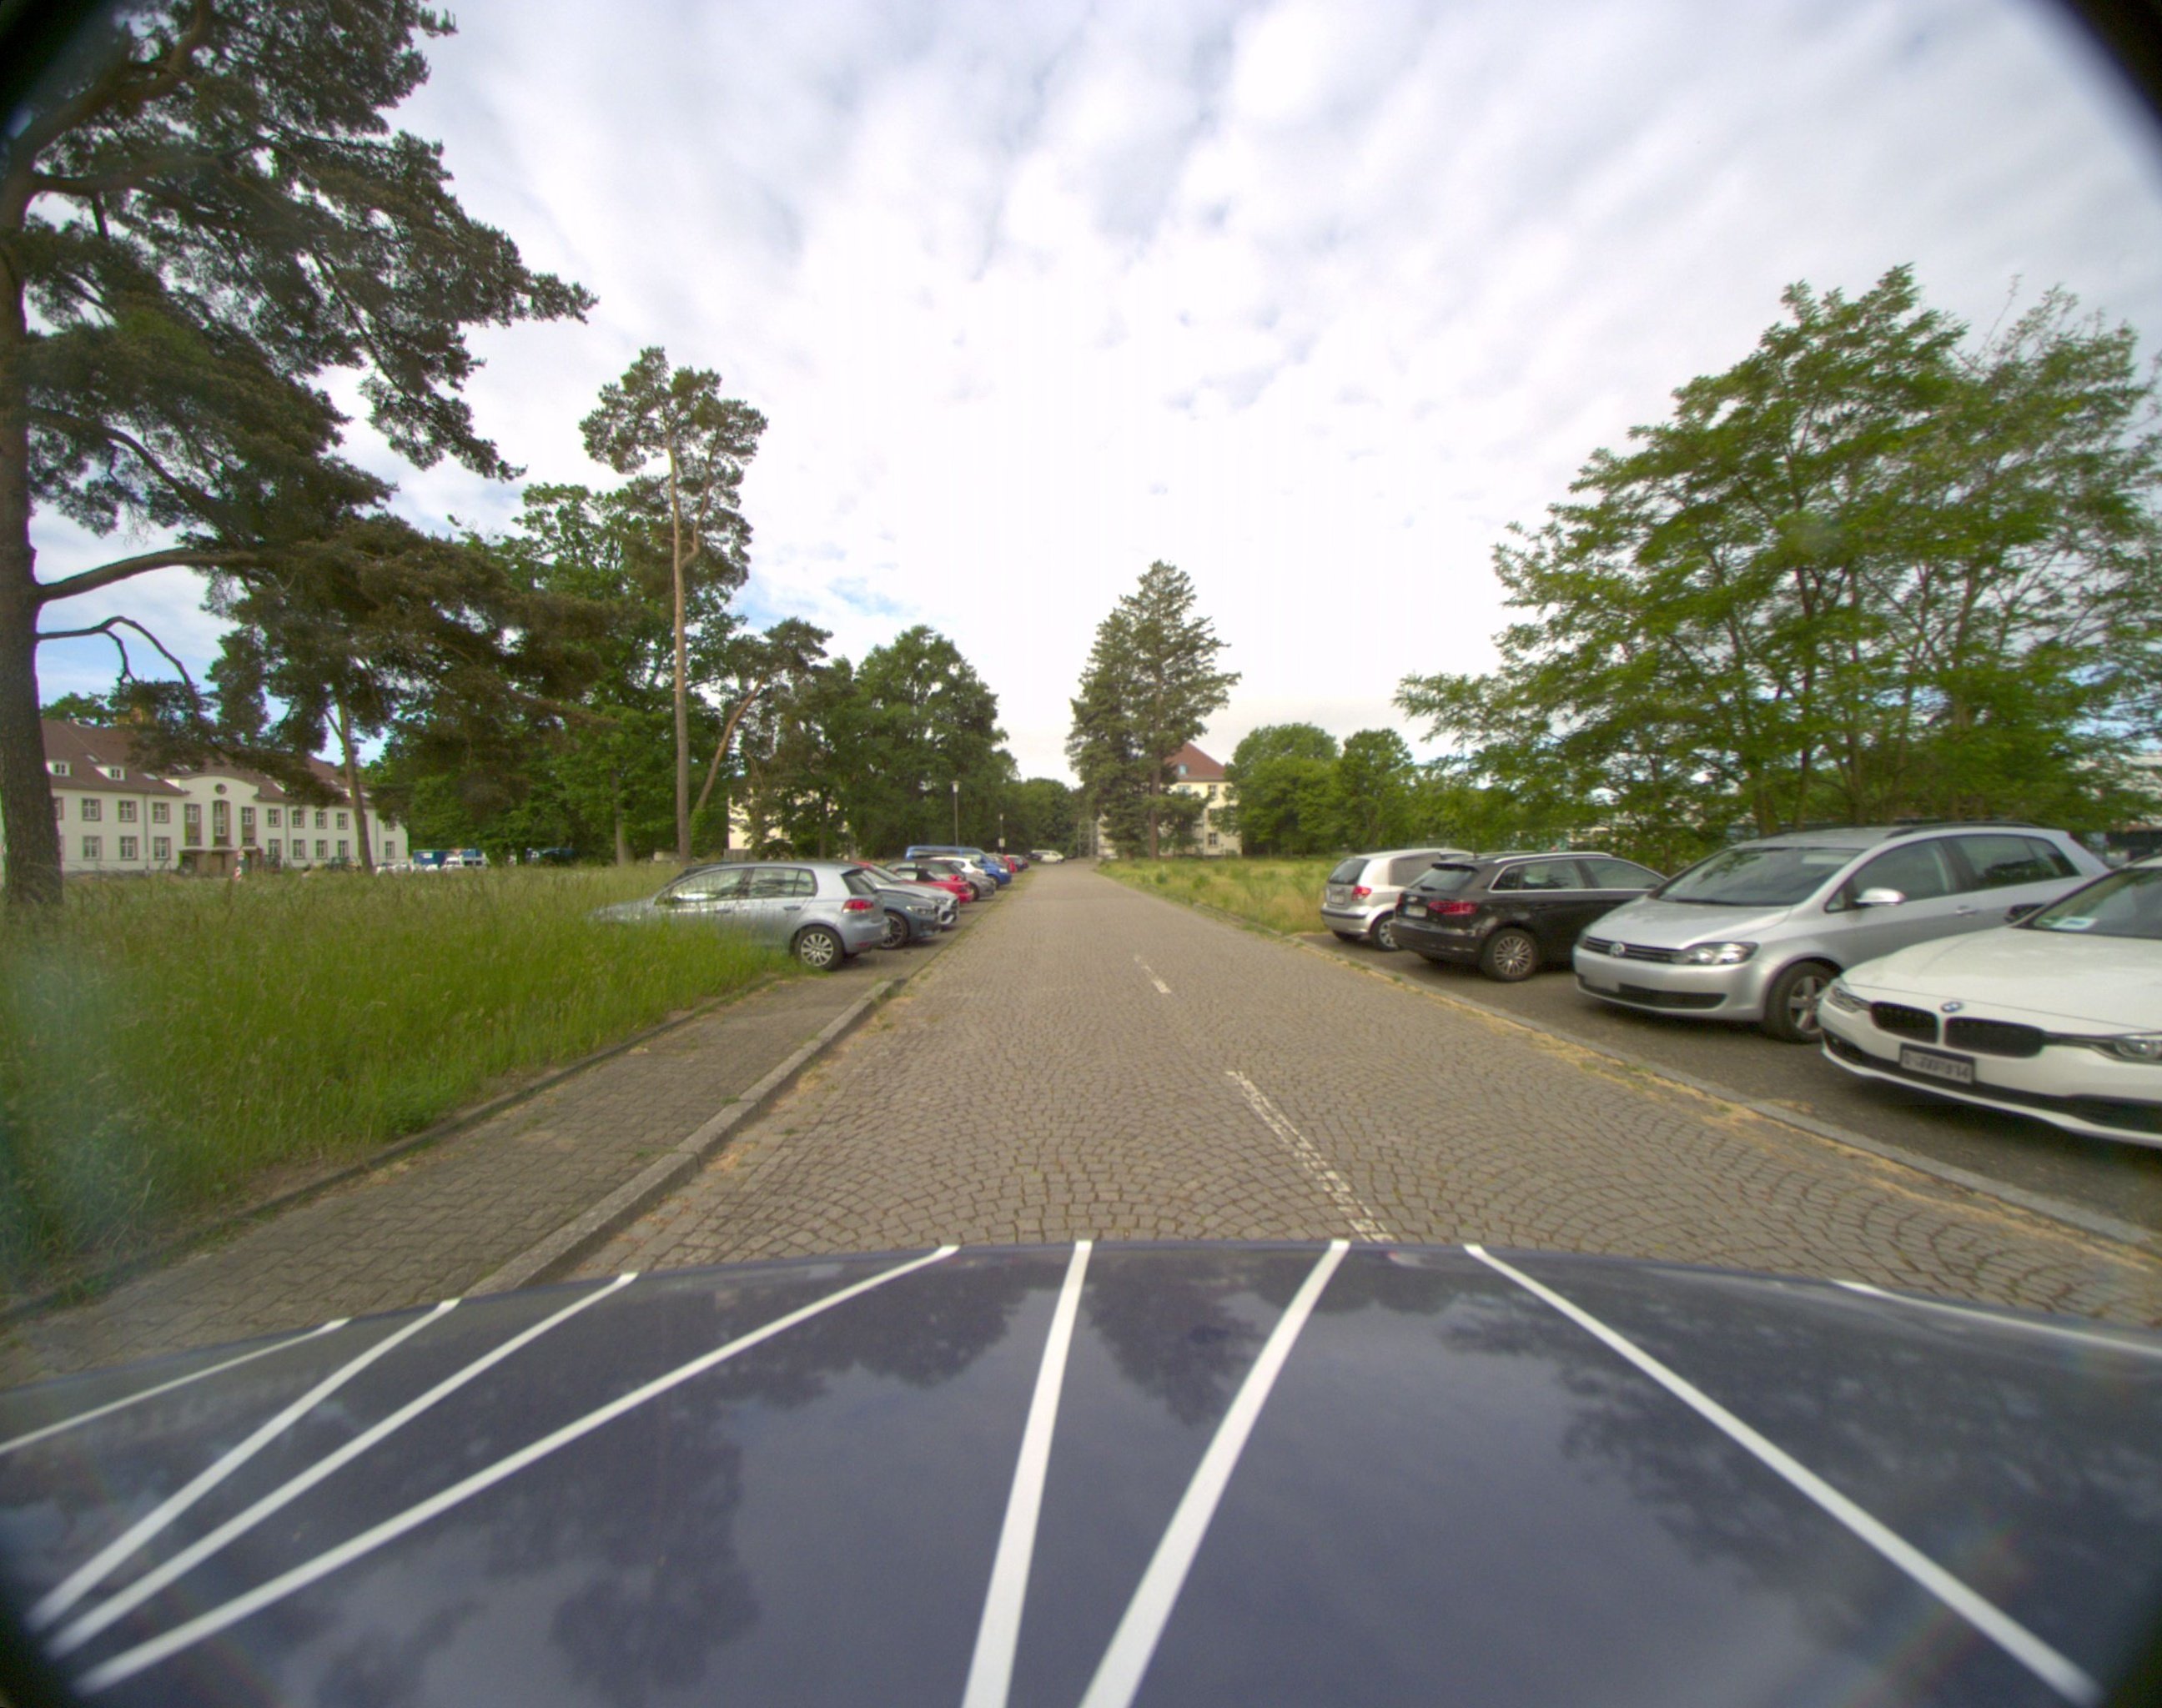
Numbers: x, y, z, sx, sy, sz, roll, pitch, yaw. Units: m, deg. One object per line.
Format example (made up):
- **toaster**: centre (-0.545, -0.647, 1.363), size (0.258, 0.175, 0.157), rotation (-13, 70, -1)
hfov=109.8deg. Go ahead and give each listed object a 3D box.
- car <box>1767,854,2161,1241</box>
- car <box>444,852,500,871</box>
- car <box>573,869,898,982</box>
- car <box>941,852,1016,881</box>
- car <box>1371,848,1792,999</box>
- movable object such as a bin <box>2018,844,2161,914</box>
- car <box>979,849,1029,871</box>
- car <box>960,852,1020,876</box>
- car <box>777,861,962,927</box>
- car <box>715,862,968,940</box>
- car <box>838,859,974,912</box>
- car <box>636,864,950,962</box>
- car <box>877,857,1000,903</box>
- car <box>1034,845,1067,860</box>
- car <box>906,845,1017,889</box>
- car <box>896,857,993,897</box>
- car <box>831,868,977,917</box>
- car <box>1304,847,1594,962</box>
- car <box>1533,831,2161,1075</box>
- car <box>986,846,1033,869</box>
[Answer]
- **car**: centre (6.678, 0.749, 4.042), size (4.661, 1.435, 1.800), rotation (-3, 1, -6)
- **car**: centre (-71.038, 0.862, 88.726), size (2.154, 2.002, 5.223), rotation (-1, 1, 1)
- **car**: centre (-4.620, 0.939, 10.566), size (3.773, 1.418, 1.605), rotation (0, 0, -3)
- **car**: centre (-5.814, 0.687, 43.378), size (3.997, 1.601, 1.999), rotation (-1, 1, -2)
- **car**: centre (5.902, 0.754, 9.277), size (3.998, 1.419, 1.750), rotation (-3, 1, -3)
- **movable object such as a bin**: centre (18.934, 0.415, 13.595), size (2.397, 1.154, 1.500), rotation (-1, 1, 3)
- **car**: centre (-6.472, 0.469, 63.941), size (4.008, 1.752, 2.000), rotation (-1, 1, -1)
- **car**: centre (-6.373, 0.687, 53.694), size (3.997, 1.521, 1.999), rotation (-2, 1, -2)
- **car**: centre (-4.990, 0.926, 18.347), size (3.972, 1.444, 1.799), rotation (-1, 1, -2)
- **car**: centre (-4.905, 0.945, 16.087), size (4.770, 1.474, 1.812), rotation (-1, 1, -2)
- **car**: centre (-5.282, 0.925, 23.313), size (3.787, 1.497, 1.798), rotation (-1, 1, -4)
- **car**: centre (-4.780, 0.956, 13.204), size (4.771, 1.474, 1.760), rotation (-1, 1, -5)
- **car**: centre (-4.845, 0.869, 26.217), size (3.849, 1.448, 1.820), rotation (-1, 1, 0)
- **car**: centre (-4.682, -0.217, 117.285), size (5.031, 2.164, 2.000), rotation (-1, 1, 0)
- **car**: centre (-5.333, 0.569, 34.448), size (4.750, 1.928, 1.999), rotation (0, 1, -2)
- **car**: centre (-5.166, 0.850, 29.031), size (3.409, 1.444, 1.637), rotation (-1, 1, -1)
- **car**: centre (-4.708, 1.030, 20.567), size (3.600, 1.200, 1.494), rotation (-1, 0, -1)
- **car**: centre (5.689, 0.724, 12.021), size (3.689, 1.444, 1.807), rotation (-3, 1, -6)
- **car**: centre (6.358, 0.695, 6.507), size (3.999, 1.538, 1.723), rotation (-3, 1, -6)
- **car**: centre (-6.371, 0.334, 68.342), size (3.997, 2.002, 2.000), rotation (-1, 1, -1)
